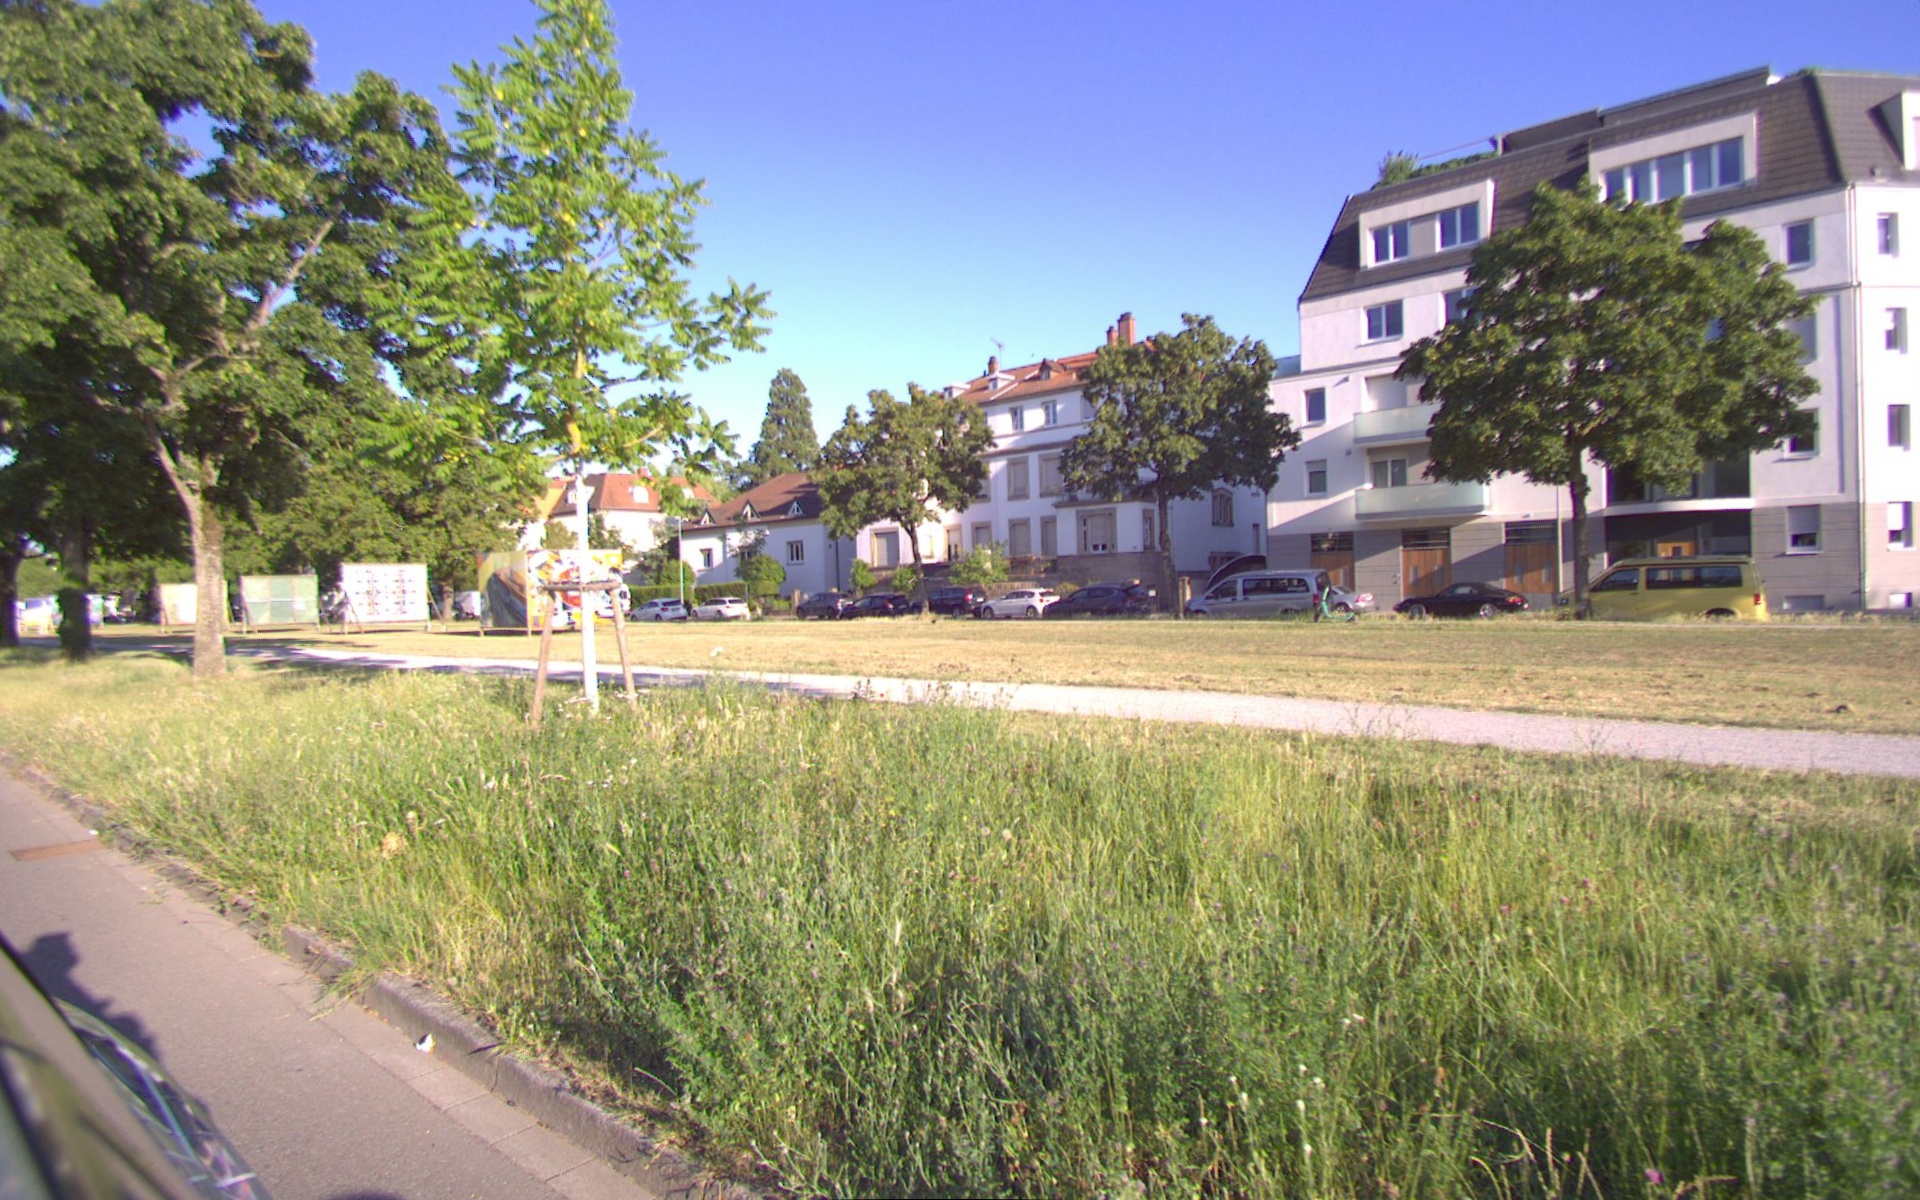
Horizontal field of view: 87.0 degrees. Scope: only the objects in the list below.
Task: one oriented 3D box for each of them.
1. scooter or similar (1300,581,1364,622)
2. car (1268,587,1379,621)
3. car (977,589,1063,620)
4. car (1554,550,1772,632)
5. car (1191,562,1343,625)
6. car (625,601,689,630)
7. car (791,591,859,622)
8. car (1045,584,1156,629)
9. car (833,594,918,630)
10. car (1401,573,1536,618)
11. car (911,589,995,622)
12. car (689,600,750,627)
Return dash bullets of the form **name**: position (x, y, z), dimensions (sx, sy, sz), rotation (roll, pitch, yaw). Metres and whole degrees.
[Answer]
- **scooter or similar**: position (10.552, 0.044, 28.748), dimensions (1.648, 1.124, 0.447), rotation (-1, 1, 41)
- **car**: position (14.005, 0.171, 39.060), dimensions (3.724, 1.249, 1.606), rotation (-1, 0, 37)
- **car**: position (2.865, 0.216, 48.923), dimensions (4.005, 1.457, 1.621), rotation (-1, 0, 40)
- **car**: position (18.930, -0.205, 27.359), dimensions (4.690, 2.029, 2.006), rotation (-1, 0, 40)
- **car**: position (10.538, -0.187, 34.905), dimensions (4.571, 2.029, 2.052), rotation (-1, 0, 40)
- **car**: position (-17.723, 0.898, 59.184), dimensions (3.834, 1.592, 1.802), rotation (-1, 1, 41)
- **car**: position (-7.740, 0.372, 57.804), dimensions (3.999, 1.674, 1.621), rotation (-1, 1, 42)
- **car**: position (5.353, 0.247, 38.685), dimensions (3.826, 1.592, 1.805), rotation (-1, 1, 34)
- **car**: position (-3.993, 0.572, 47.438), dimensions (3.834, 1.592, 1.802), rotation (-1, 1, 41)
- **car**: position (18.044, -0.139, 36.007), dimensions (3.998, 1.474, 1.655), rotation (-1, 1, 41)
- **car**: position (-0.391, 0.274, 51.883), dimensions (4.160, 1.592, 1.802), rotation (-1, 1, 41)
- **car**: position (-15.357, 0.854, 64.516), dimensions (3.965, 1.592, 1.802), rotation (-1, 1, 41)
